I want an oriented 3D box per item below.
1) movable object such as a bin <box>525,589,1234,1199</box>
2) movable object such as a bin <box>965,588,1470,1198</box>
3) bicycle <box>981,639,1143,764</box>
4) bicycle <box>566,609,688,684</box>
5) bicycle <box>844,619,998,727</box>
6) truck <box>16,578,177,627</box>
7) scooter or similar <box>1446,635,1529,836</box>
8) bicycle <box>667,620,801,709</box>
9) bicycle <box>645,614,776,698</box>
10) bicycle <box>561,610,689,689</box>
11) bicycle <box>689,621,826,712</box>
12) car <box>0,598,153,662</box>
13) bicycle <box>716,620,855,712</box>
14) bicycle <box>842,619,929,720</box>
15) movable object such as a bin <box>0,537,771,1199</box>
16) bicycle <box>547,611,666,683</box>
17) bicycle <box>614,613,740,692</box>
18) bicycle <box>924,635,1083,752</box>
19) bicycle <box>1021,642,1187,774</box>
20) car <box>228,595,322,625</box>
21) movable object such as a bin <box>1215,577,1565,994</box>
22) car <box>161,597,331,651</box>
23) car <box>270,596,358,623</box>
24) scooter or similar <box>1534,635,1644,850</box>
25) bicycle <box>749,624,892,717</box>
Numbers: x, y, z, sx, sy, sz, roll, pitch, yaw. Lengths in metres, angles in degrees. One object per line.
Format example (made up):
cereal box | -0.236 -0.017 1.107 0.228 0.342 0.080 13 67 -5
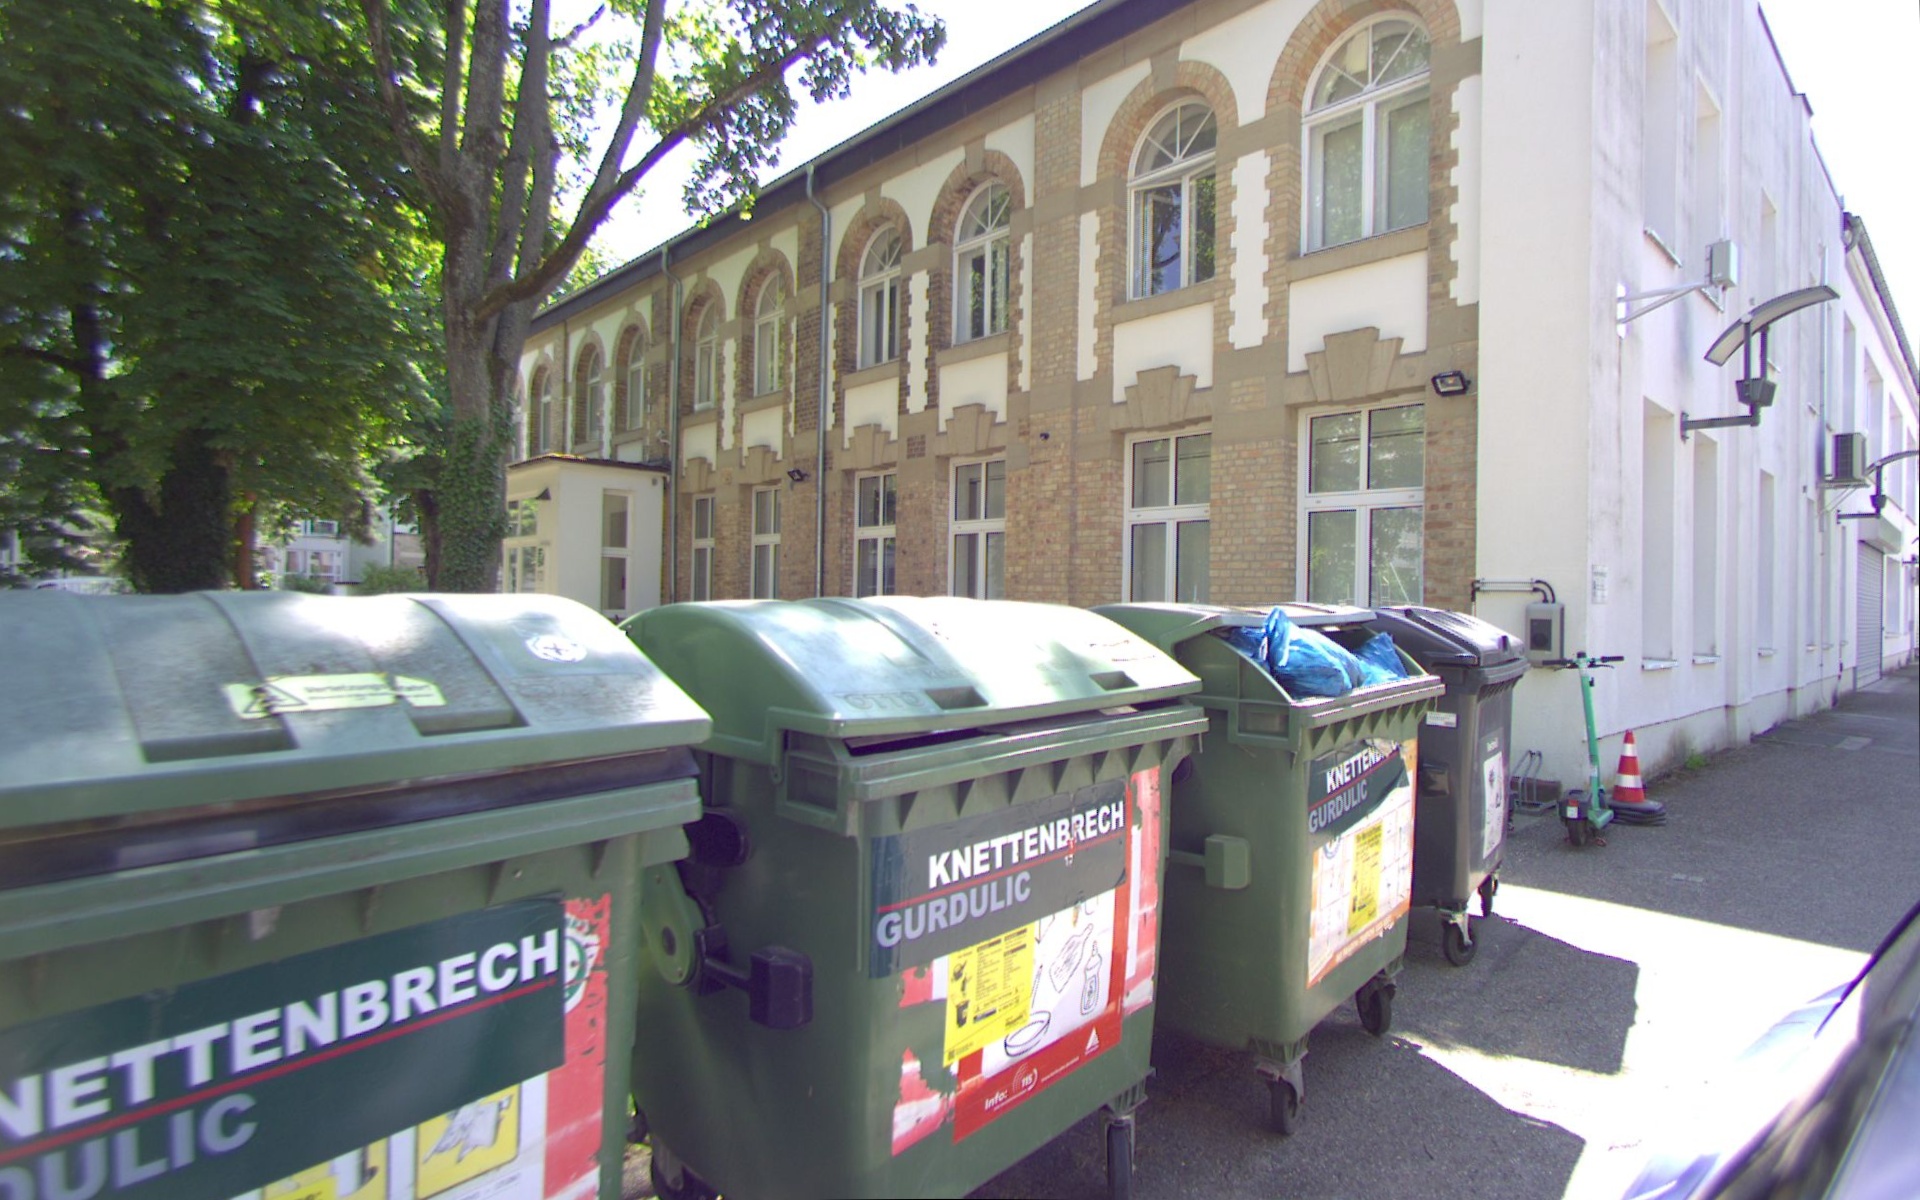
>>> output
movable object such as a bin | -0.175 0.721 2.488 1.178 1.488 1.291 0 0 43
movable object such as a bin | 0.878 0.708 3.354 1.177 1.488 1.292 0 0 41
bicycle | 1.033 0.948 9.931 1.804 1.081 0.503 1 -1 -42
bicycle | -5.436 0.738 16.608 1.810 1.157 0.588 1 0 -42
bicycle | -0.405 0.790 11.386 1.803 1.117 0.522 2 -1 -42
truck | -33.968 0.077 39.978 4.550 1.856 1.658 -1 0 -29
scooter or similar | 3.619 0.862 6.918 0.461 1.188 1.243 0 0 29
bicycle | -3.199 0.883 14.432 1.810 1.157 0.588 1 0 -42
bicycle | -3.647 0.789 14.901 1.810 1.157 0.588 1 0 -42
bicycle | -5.230 0.747 15.856 1.808 1.157 0.589 1 0 -38
bicycle | -2.766 0.882 13.965 1.810 1.157 0.588 1 0 -42
car | -22.966 0.707 25.429 1.684 1.482 3.913 1 0 19
bicycle | -2.274 0.837 13.357 1.810 1.114 0.522 1 0 -42
bicycle | -0.866 0.799 12.300 0.466 1.117 1.826 1 -1 15
movable object such as a bin | -1.150 0.685 1.455 1.178 1.488 1.292 0 0 41
bicycle | -5.968 0.765 17.134 1.810 1.157 0.588 1 0 -42
bicycle | -4.360 0.780 15.675 1.810 1.157 0.588 1 0 -42
bicycle | 0.485 0.919 10.451 1.804 1.081 0.503 2 -1 -42
bicycle | 1.384 0.962 9.484 1.804 1.081 0.503 1 -1 -42
car | -31.275 0.442 46.292 3.270 1.307 1.501 0 0 -18
movable object such as a bin | 2.011 0.672 4.643 1.152 1.524 1.443 0 0 38
car | -21.181 0.655 30.201 1.684 1.482 3.913 1 0 19
car | -31.363 0.445 49.200 3.271 1.307 1.501 0 0 -14
scooter or similar | 4.068 0.845 6.514 0.462 1.188 1.338 0 0 38
bicycle | -1.735 0.855 12.805 1.804 1.083 0.522 1 0 -42
